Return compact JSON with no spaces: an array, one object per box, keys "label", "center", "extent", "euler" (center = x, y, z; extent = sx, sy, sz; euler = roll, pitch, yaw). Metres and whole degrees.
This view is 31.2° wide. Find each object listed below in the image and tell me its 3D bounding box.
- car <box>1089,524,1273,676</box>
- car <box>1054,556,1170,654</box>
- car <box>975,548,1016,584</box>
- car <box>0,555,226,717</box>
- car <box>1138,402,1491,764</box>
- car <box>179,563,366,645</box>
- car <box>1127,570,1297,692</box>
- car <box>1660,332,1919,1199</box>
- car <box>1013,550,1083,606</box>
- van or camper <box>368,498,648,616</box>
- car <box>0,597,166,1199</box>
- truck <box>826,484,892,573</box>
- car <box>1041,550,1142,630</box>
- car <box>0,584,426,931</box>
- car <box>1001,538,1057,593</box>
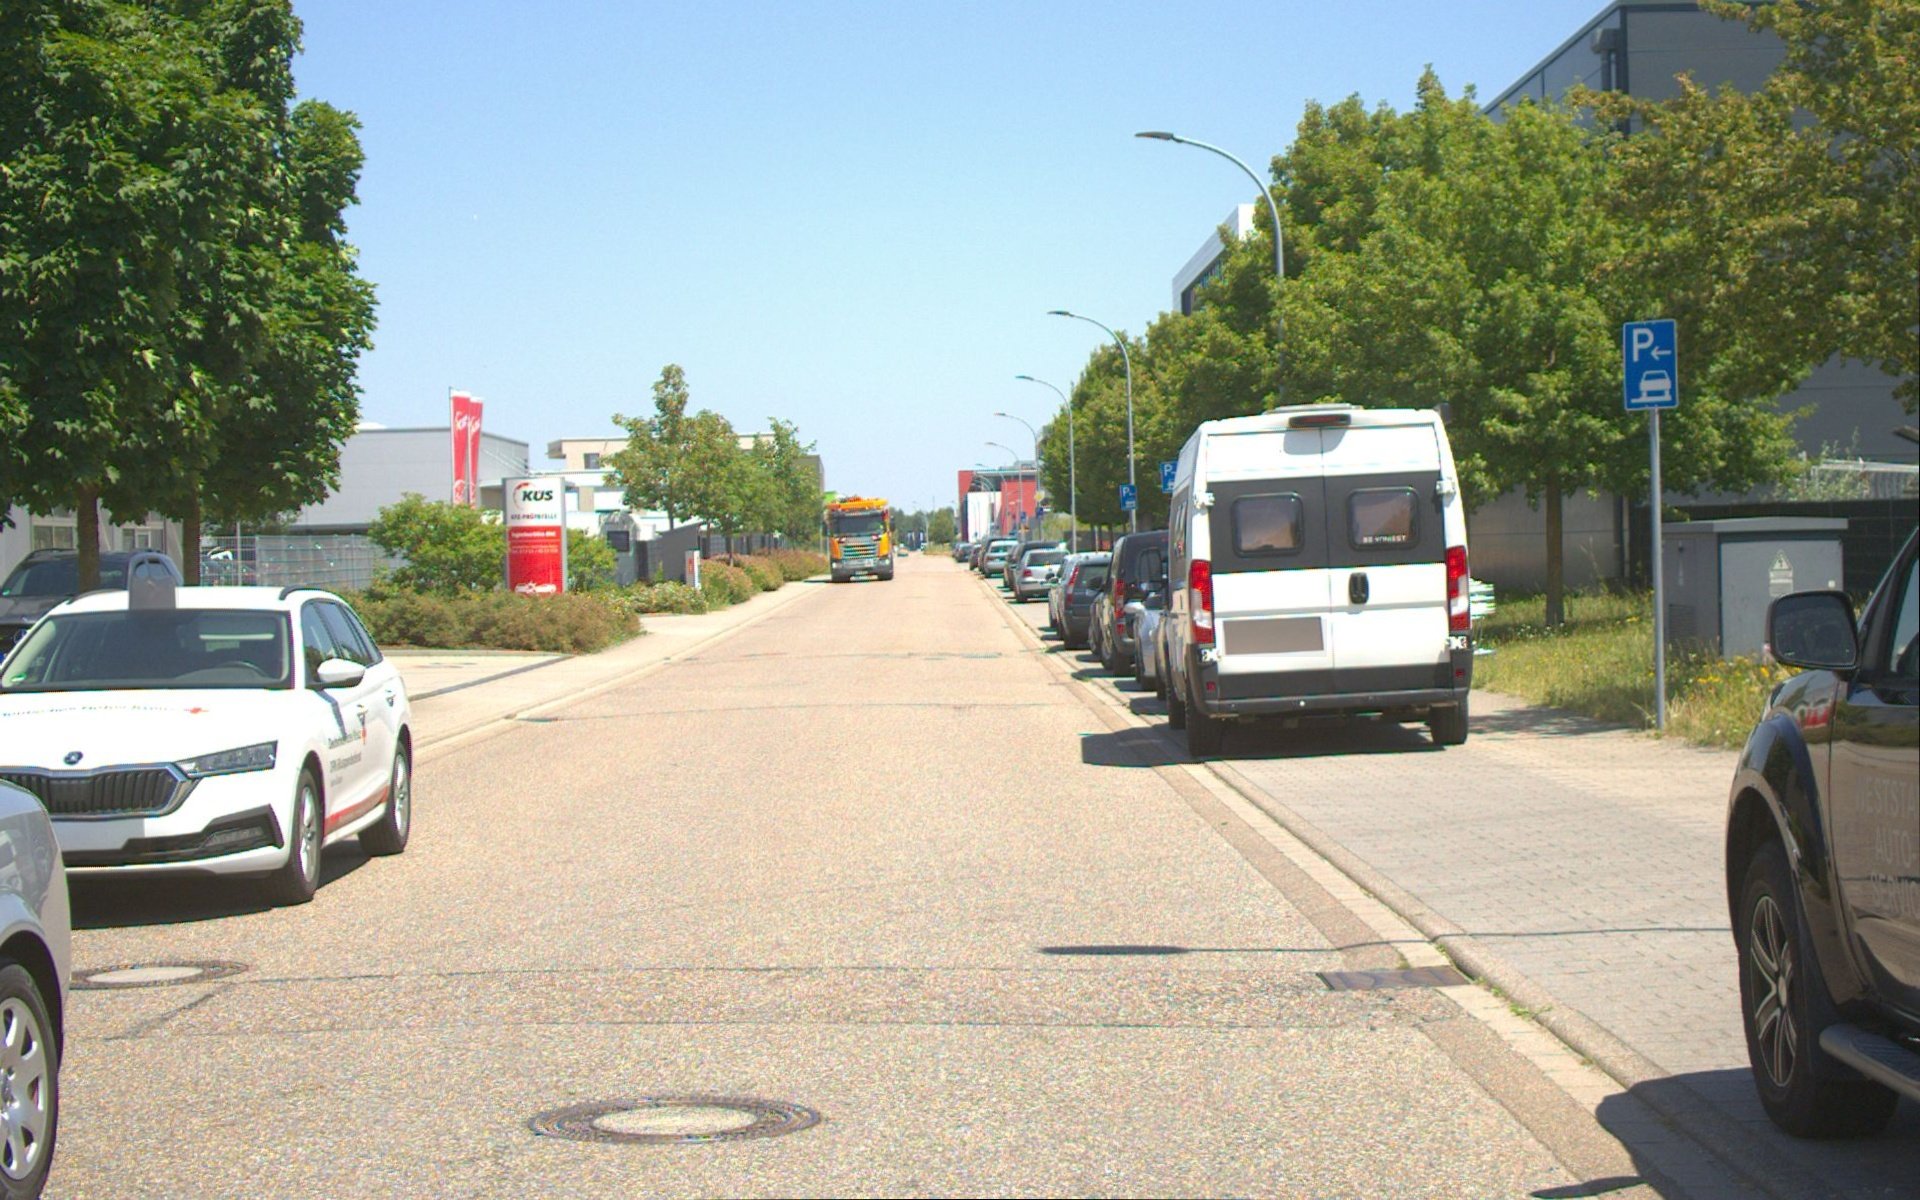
[{"label":"car","center":[2.803,-0.016,44.499],"extent":[1.993,1.819,4.354],"euler":[-2,0,-1]},{"label":"car","center":[2.555,0.061,56.817],"extent":[1.709,1.499,4.705],"euler":[-2,0,5]},{"label":"car","center":[1.453,-1.412,140.854],"extent":[1.585,1.405,3.500],"euler":[-2,1,-1]},{"label":"car","center":[-10.409,0.375,41.013],"extent":[1.994,1.729,4.913],"euler":[0,2,3]},{"label":"car","center":[2.677,-0.162,27.490],"extent":[2.267,2.489,6.152],"euler":[-2,1,2]},{"label":"car","center":[-13.784,0.076,69.071],"extent":[3.500,1.546,1.558],"euler":[-1,1,-5]},{"label":"car","center":[2.840,0.336,39.454],"extent":[1.711,1.283,4.115],"euler":[-2,0,1]},{"label":"car","center":[2.916,0.371,6.662],"extent":[1.993,1.878,5.156],"euler":[-3,1,0]},{"label":"car","center":[2.378,-0.607,93.679],"extent":[1.718,1.445,3.646],"euler":[-2,1,-1]},{"label":"van or camper","center":[-12.520,-1.202,95.671],"extent":[7.384,3.027,2.790],"euler":[-2,1,-1]},{"label":"car","center":[-3.112,0.786,6.486],"extent":[1.783,1.417,4.413],"euler":[-3,1,5]},{"label":"truck","center":[-4.200,-3.008,144.300],"extent":[2.448,3.501,8.273],"euler":[-3,1,-1]},{"label":"car","center":[2.591,-0.215,68.372],"extent":[1.636,1.464,3.746],"euler":[-2,1,-3]},{"label":"car","center":[-3.859,0.673,17.090],"extent":[1.730,1.453,4.492],"euler":[-1,1,-1]},{"label":"car","center":[2.231,-1.130,111.668],"extent":[1.722,1.688,3.984],"euler":[-1,1,0]}]
